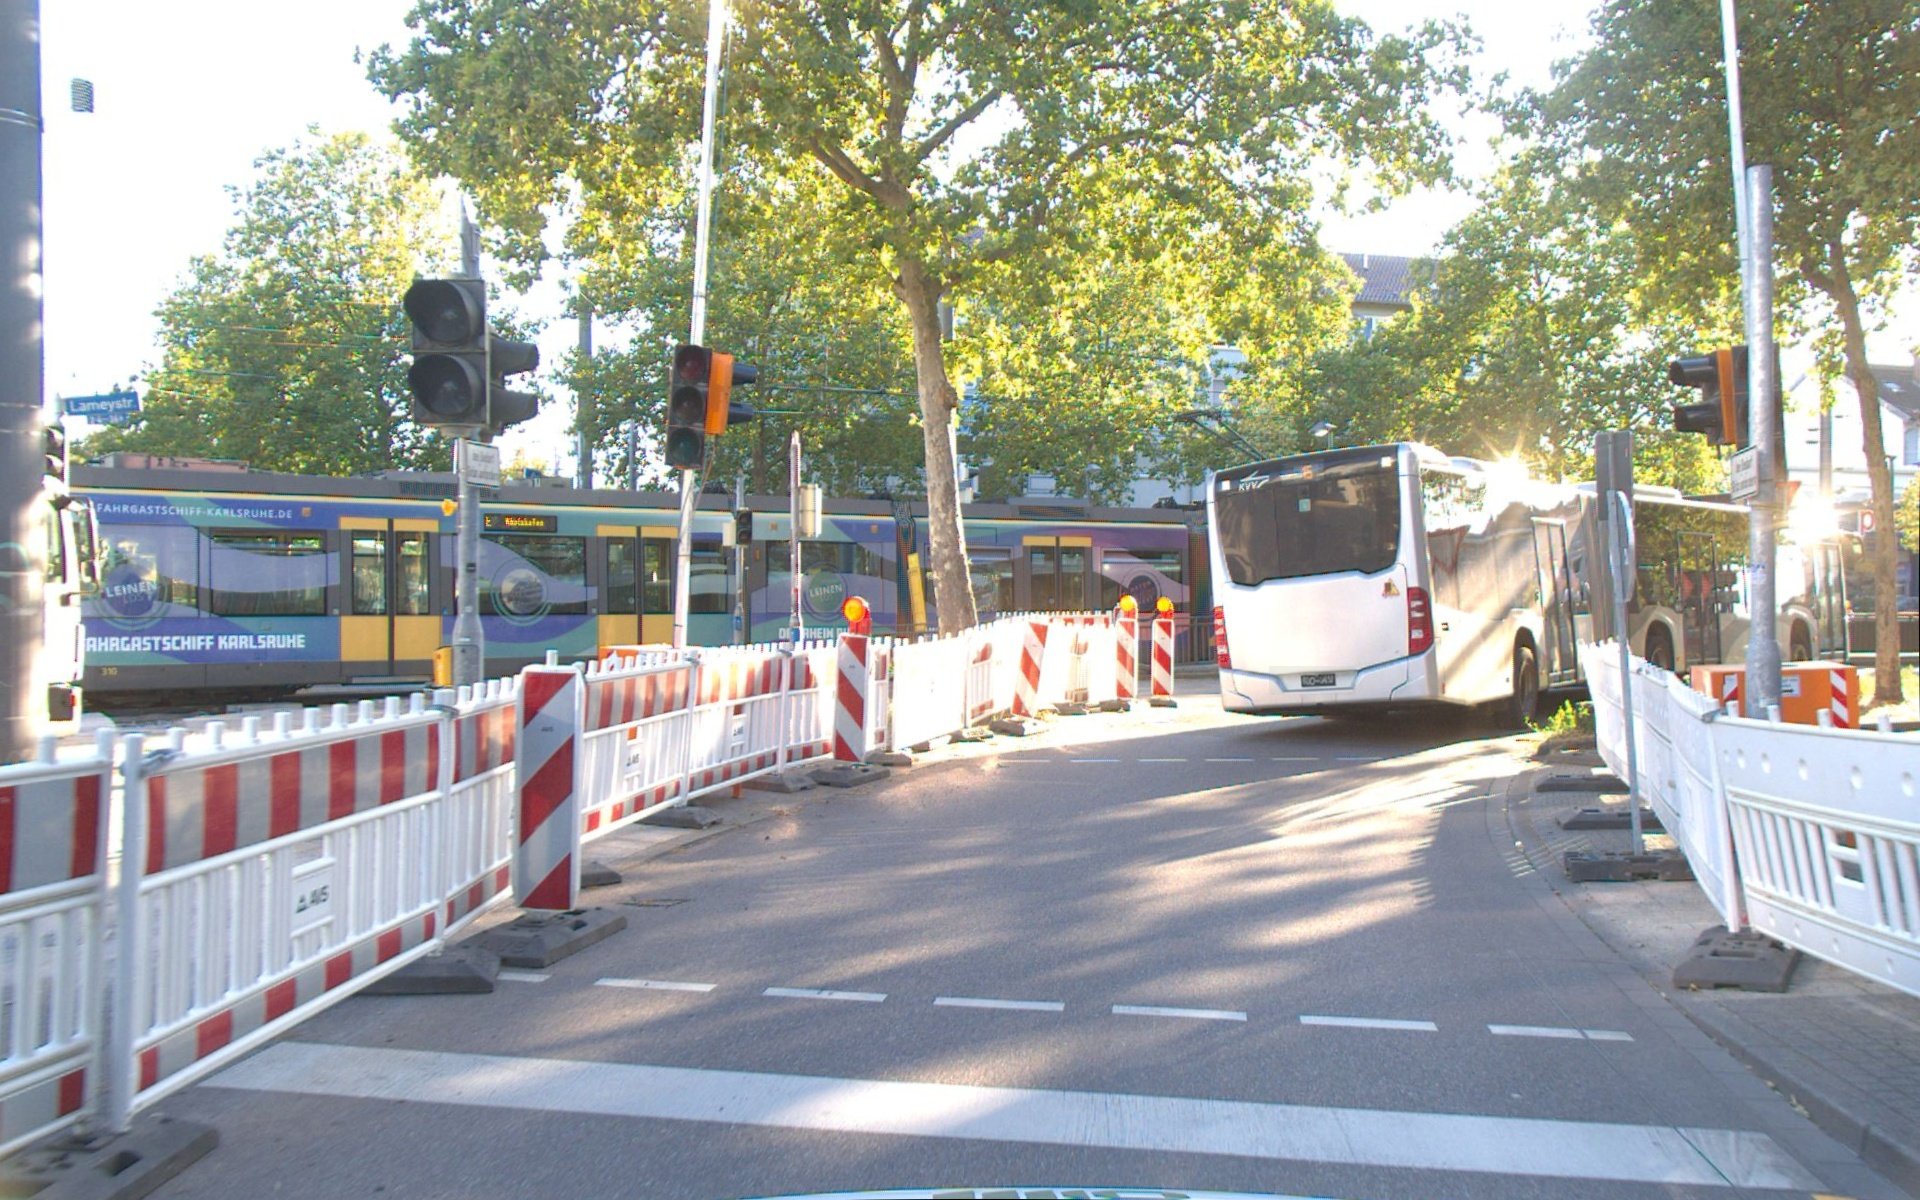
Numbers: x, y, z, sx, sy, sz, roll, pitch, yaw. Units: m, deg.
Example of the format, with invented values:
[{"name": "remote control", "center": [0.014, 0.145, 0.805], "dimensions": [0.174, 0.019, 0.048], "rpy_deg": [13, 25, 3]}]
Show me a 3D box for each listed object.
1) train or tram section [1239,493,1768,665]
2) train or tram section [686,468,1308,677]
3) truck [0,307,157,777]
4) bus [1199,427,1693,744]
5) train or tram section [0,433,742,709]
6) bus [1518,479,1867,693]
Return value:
[{"name": "train or tram section", "center": [12.738, -0.410, 38.122], "dimensions": [13.107, 3.581, 2.631], "rpy_deg": [0, -1, -23]}, {"name": "train or tram section", "center": [1.040, -0.444, 32.697], "dimensions": [12.592, 3.611, 2.713], "rpy_deg": [0, -1, -27]}, {"name": "truck", "center": [-9.120, -0.439, 10.305], "dimensions": [2.752, 3.603, 8.991], "rpy_deg": [0, 0, 9]}, {"name": "bus", "center": [6.900, -0.200, 21.727], "dimensions": [2.688, 3.194, 10.659], "rpy_deg": [0, 0, 37]}, {"name": "train or tram section", "center": [-9.769, -0.346, 25.566], "dimensions": [13.264, 3.595, 2.819], "rpy_deg": [0, -1, -39]}, {"name": "bus", "center": [12.913, -0.259, 28.617], "dimensions": [2.671, 3.161, 8.918], "rpy_deg": [0, 0, 44]}]
